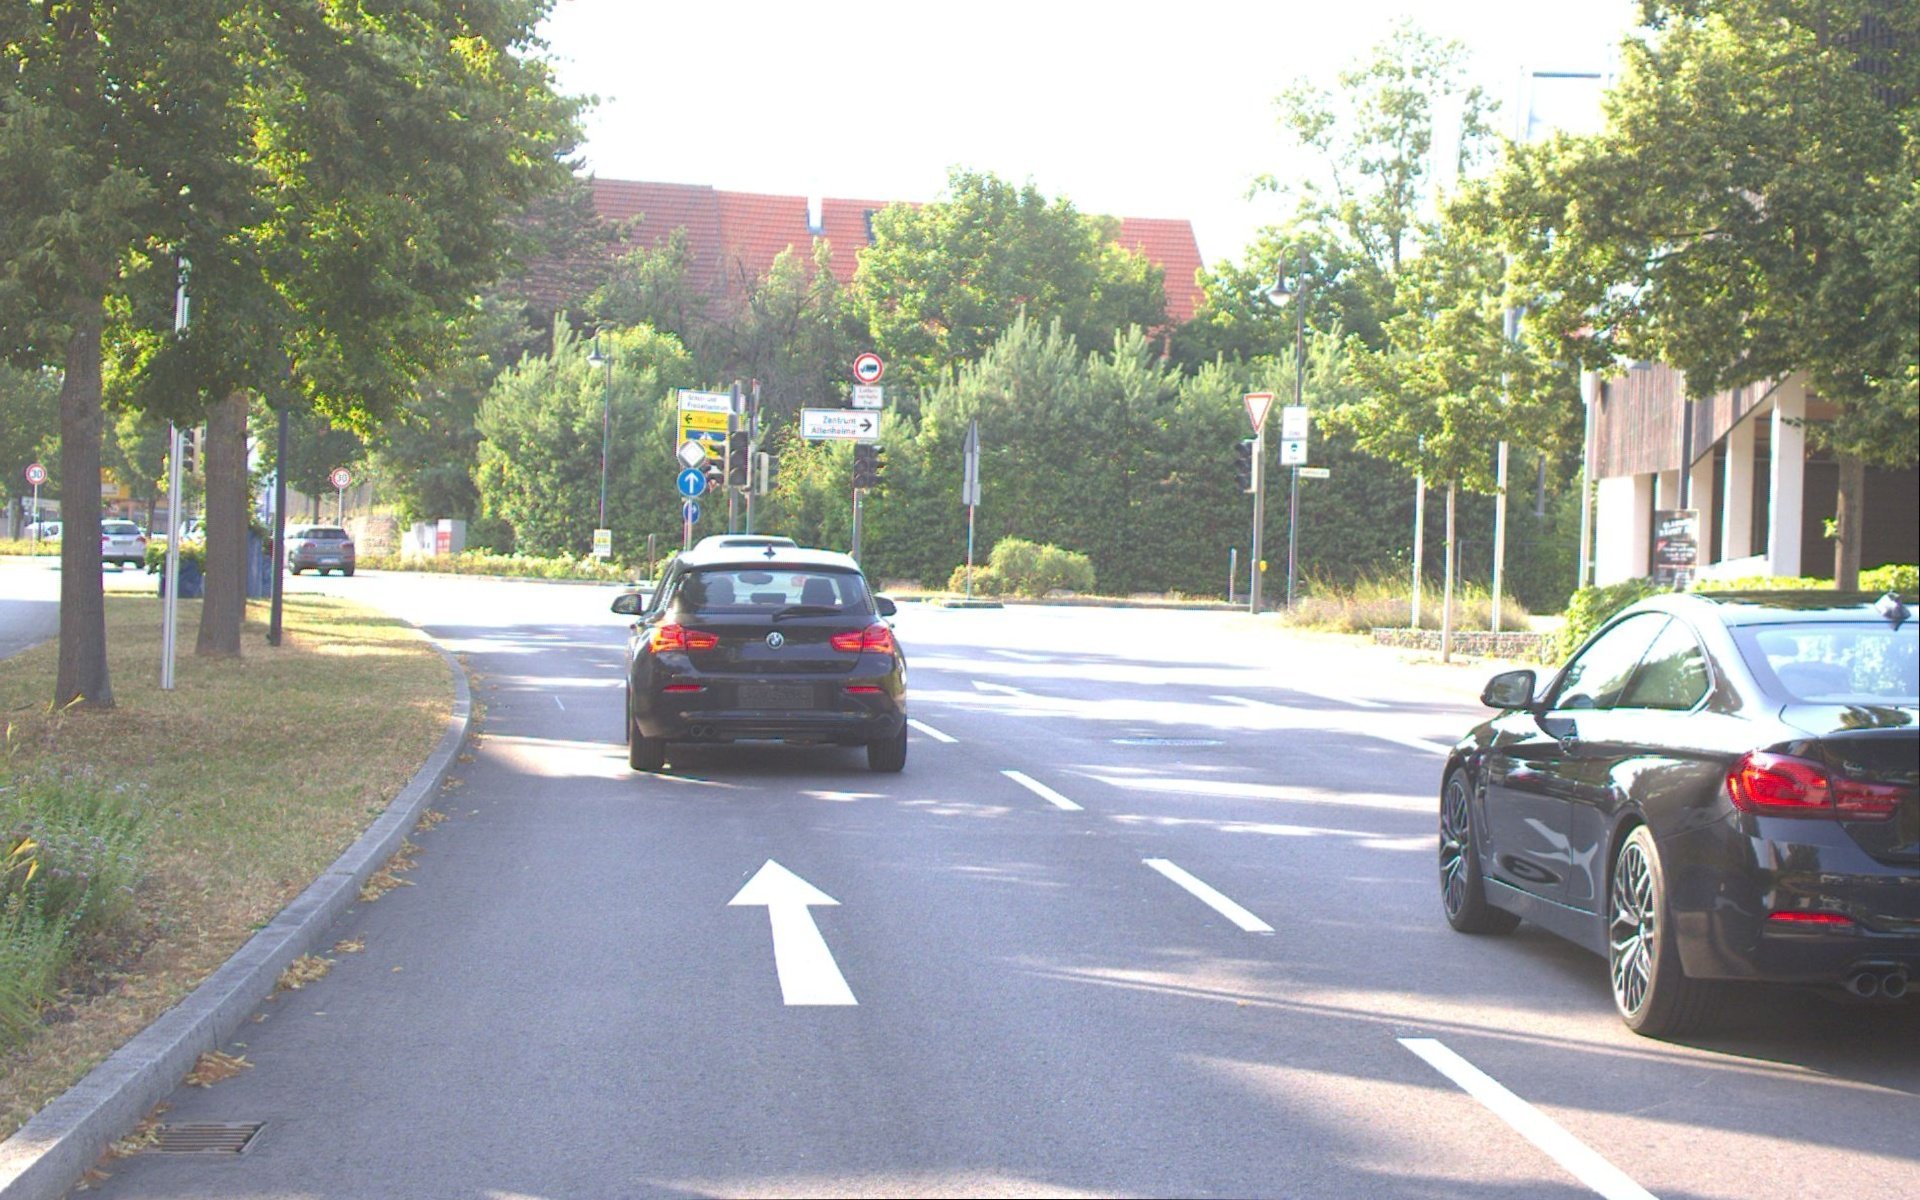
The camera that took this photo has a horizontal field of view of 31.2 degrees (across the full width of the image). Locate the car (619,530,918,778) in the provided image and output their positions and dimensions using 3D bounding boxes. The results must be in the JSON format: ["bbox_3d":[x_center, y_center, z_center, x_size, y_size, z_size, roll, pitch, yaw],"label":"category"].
[{"bbox_3d":[-1.388,0.299,23.297,1.720,1.485,4.354,2,1,-7],"label":"car"}]

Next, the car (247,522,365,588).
[{"bbox_3d":[-18.881,-1.324,99.086,2.257,1.669,4.589,3,1,-24],"label":"car"}]

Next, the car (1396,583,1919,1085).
[{"bbox_3d":[2.866,0.653,11.800,1.920,1.359,4.353,1,1,-4],"label":"car"}]

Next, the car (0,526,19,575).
[{"bbox_3d":[-35.894,-1.838,124.927,2.216,1.763,4.455,1,1,-30],"label":"car"}]

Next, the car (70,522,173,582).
[{"bbox_3d":[-26.483,-1.539,108.482,2.257,1.669,4.589,3,1,-24],"label":"car"}]

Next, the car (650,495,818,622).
[{"bbox_3d":[-3.398,-0.626,50.946,1.924,1.763,4.456,1,1,-11],"label":"car"}]
